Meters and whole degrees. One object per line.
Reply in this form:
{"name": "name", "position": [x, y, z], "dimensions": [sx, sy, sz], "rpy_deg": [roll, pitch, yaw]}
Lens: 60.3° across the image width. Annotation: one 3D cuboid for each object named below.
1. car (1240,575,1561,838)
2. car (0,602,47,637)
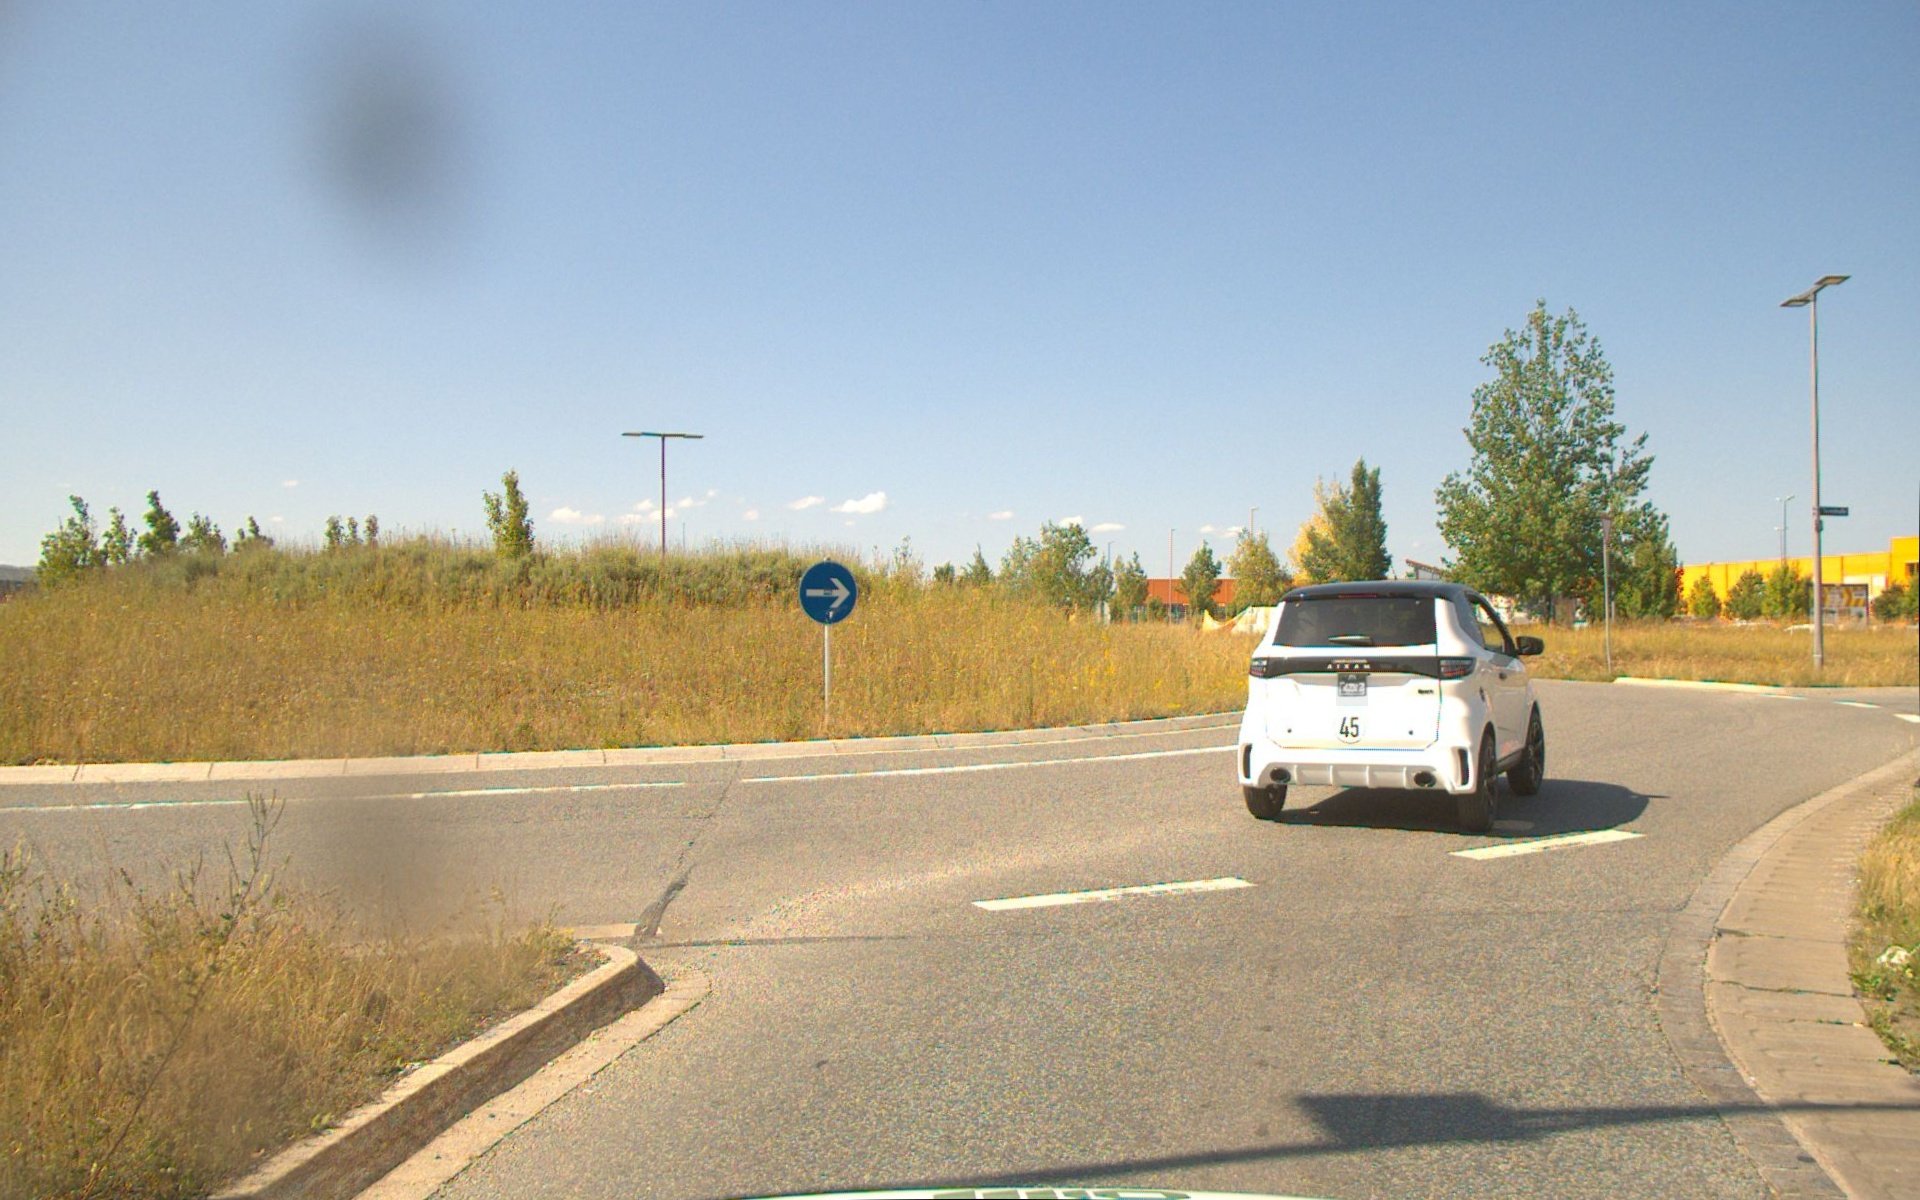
{"name": "car", "position": [3.092, 0.575, 11.182], "dimensions": [1.480, 1.465, 3.348], "rpy_deg": [1, 1, 26]}
{"name": "car", "position": [-50.080, 1.046, 87.186], "dimensions": [1.955, 1.762, 3.994], "rpy_deg": [0, -1, -6]}
